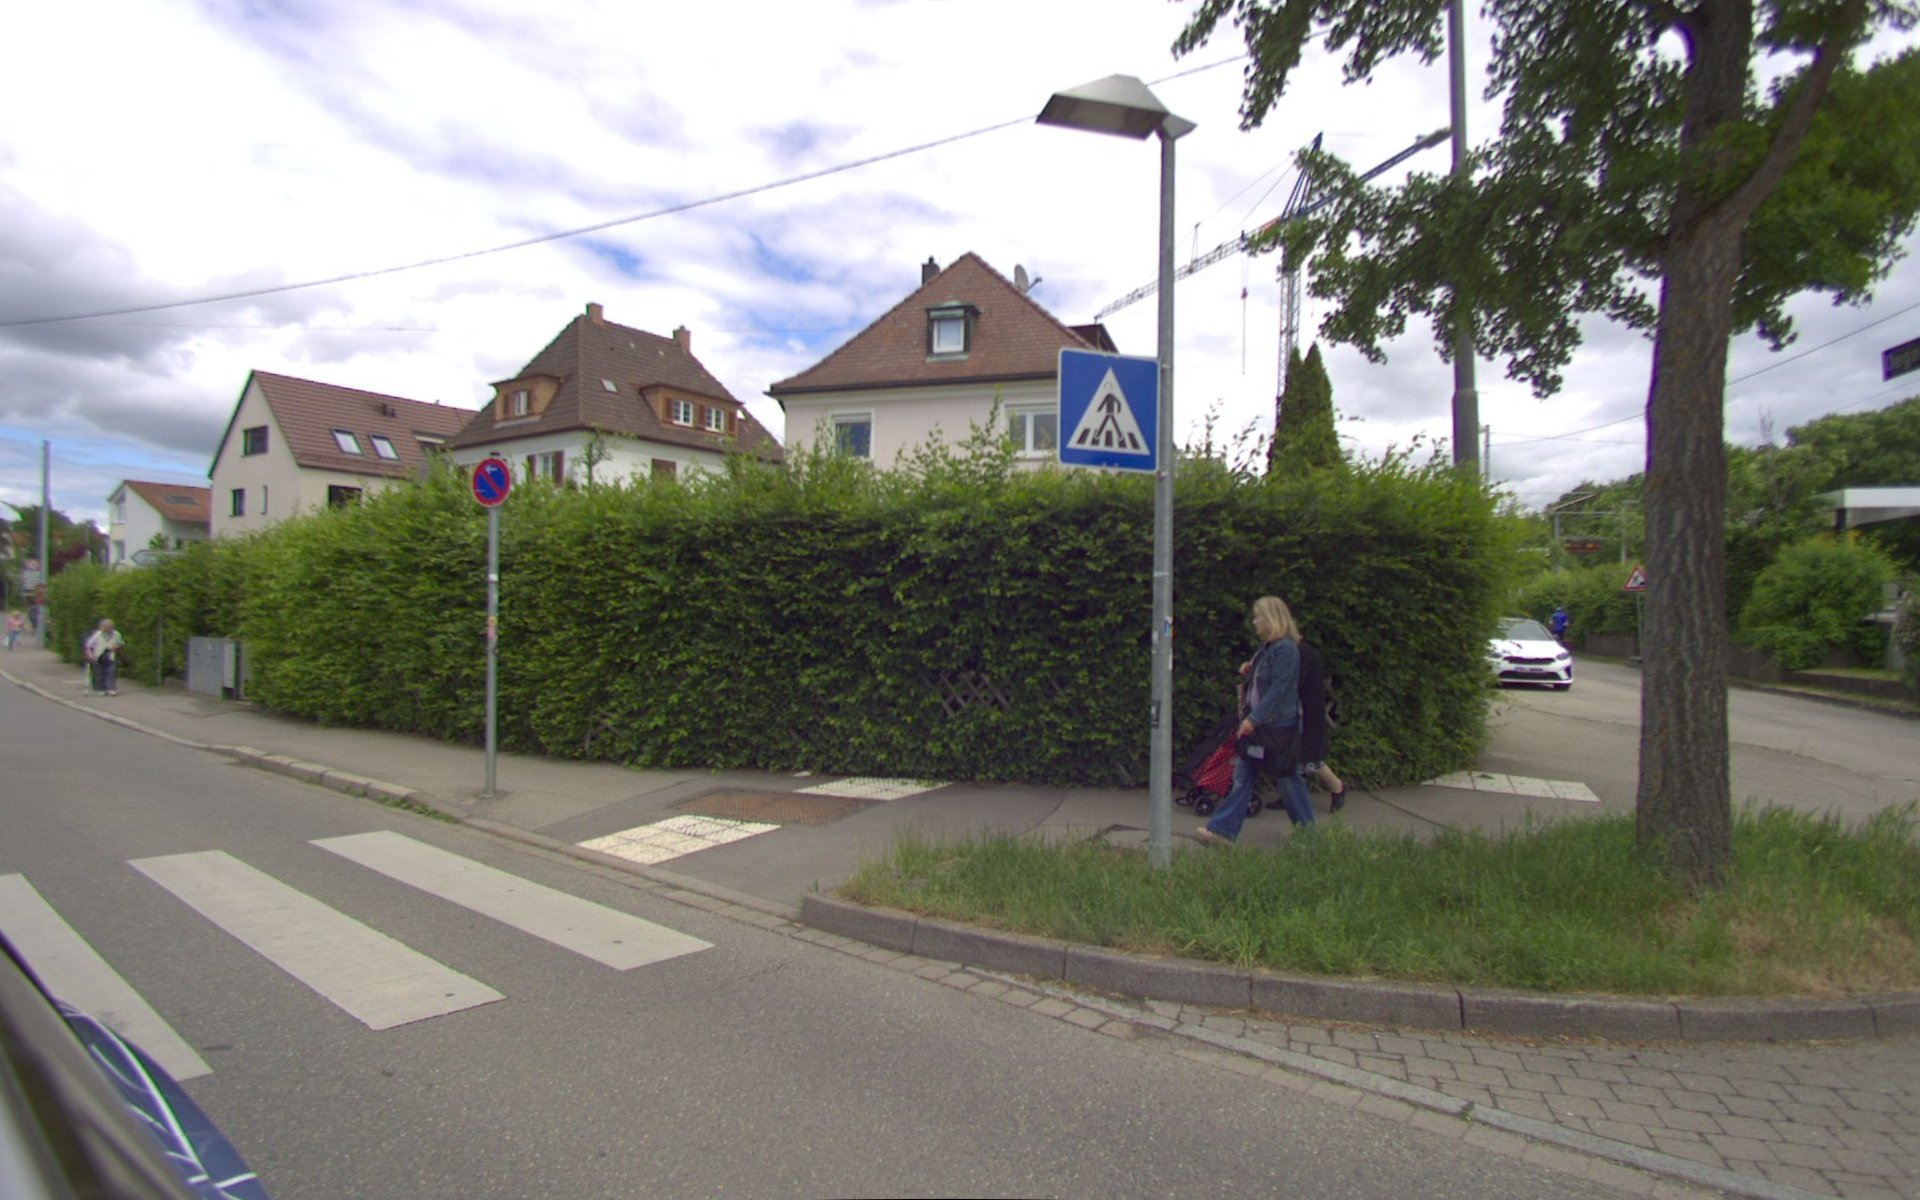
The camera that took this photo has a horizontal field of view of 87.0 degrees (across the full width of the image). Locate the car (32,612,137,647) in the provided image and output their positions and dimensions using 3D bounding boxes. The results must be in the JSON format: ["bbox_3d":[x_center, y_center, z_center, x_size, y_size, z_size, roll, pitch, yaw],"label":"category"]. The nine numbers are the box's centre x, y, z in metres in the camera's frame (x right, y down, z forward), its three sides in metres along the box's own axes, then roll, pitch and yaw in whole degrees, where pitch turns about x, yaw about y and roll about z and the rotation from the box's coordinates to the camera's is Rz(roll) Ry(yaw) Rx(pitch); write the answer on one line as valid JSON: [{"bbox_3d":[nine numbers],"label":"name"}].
[{"bbox_3d":[-45.282,1.512,52.392,1.885,1.741,3.943,-1,-2,43],"label":"car"}]

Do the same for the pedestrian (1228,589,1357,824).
[{"bbox_3d":[2.448,0.745,7.500,0.588,1.632,0.680,-1,1,-18],"label":"pedestrian"}]

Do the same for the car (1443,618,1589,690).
[{"bbox_3d":[11.595,1.062,21.383,1.765,1.322,3.755,1,0,14],"label":"car"}]

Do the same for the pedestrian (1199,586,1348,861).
[{"bbox_3d":[1.987,0.736,6.465,0.588,1.632,0.680,-1,1,-18],"label":"pedestrian"}]

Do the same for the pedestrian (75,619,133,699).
[{"bbox_3d":[-17.033,1.148,20.141,0.542,1.542,0.742,-1,0,28],"label":"pedestrian"}]

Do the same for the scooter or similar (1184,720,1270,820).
[{"bbox_3d":[1.949,1.233,7.416,0.393,0.614,0.490,-2,1,-18],"label":"scooter or similar"}]

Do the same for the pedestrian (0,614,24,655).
[{"bbox_3d":[-38.027,1.364,40.574,0.608,1.611,0.611,-1,-2,40],"label":"pedestrian"}]

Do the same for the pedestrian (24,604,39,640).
[{"bbox_3d":[-50.967,1.207,55.552,0.528,1.967,0.528,1,-2,-39],"label":"pedestrian"}]

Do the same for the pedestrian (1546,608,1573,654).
[{"bbox_3d":[20.865,1.062,35.232,0.639,1.542,0.660,2,1,19],"label":"pedestrian"}]
